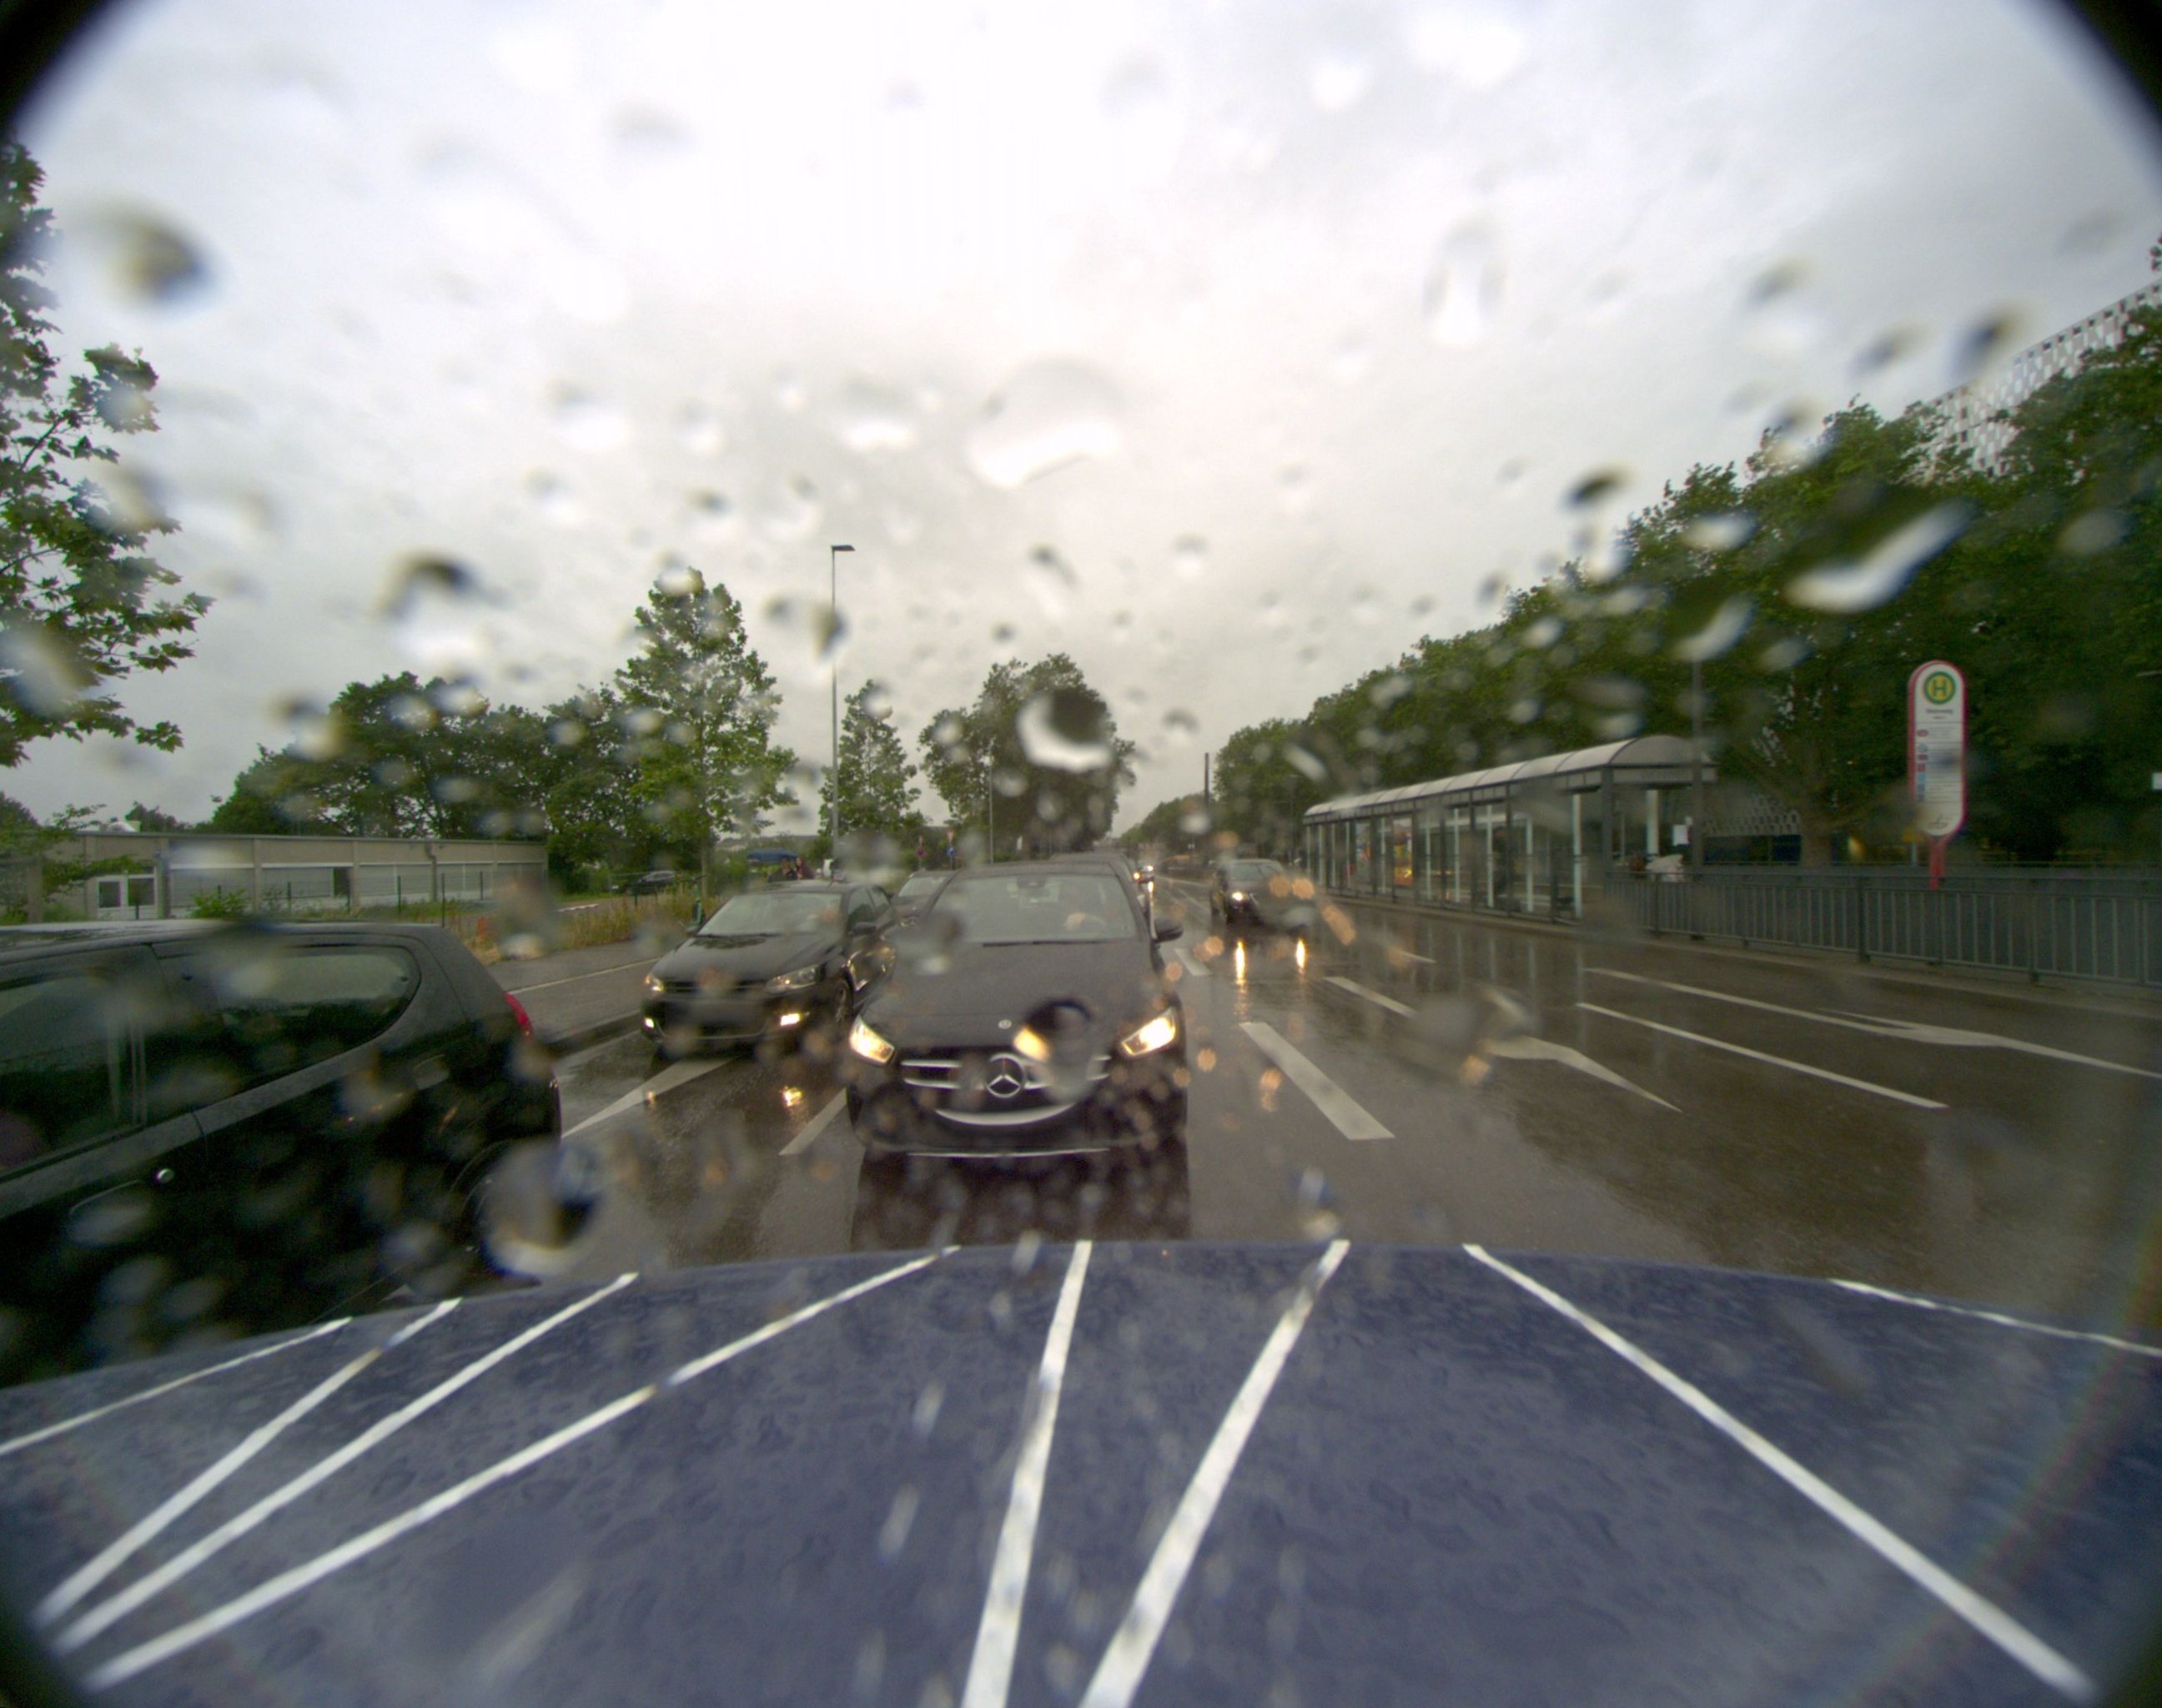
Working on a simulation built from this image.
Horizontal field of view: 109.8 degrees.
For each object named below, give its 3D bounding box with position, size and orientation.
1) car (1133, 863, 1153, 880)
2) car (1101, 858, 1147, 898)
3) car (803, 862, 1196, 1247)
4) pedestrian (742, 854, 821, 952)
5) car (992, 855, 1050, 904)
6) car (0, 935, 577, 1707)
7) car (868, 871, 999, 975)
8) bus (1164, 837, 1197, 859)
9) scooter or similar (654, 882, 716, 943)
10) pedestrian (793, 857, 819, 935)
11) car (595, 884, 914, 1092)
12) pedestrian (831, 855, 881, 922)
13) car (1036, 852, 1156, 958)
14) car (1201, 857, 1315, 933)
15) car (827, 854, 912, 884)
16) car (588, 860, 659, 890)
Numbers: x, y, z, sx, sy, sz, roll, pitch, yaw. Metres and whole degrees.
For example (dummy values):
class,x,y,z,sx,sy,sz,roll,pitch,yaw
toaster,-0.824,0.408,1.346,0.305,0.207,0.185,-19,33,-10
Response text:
class,x,y,z,sx,sy,sz,roll,pitch,yaw
car,6.760,1.883,83.227,1.794,1.597,3.999,-2,1,0
car,1.916,1.039,34.944,1.794,1.597,3.999,-2,1,0
car,-0.334,0.922,5.471,1.690,1.578,4.163,-2,1,1
pedestrian,-5.570,0.885,14.195,1.082,1.746,0.969,0,1,0
car,-2.017,0.826,26.563,1.703,1.461,4.121,-2,1,0
car,-3.010,1.082,1.455,1.633,1.420,3.624,-2,0,0
car,-2.698,1.213,14.755,1.698,1.565,3.813,-2,1,1
bus,16.305,-1.014,126.067,2.939,3.310,15.058,-2,1,-2
scooter or similar,-8.211,1.183,15.816,0.381,1.123,1.777,0,1,-1
pedestrian,-5.973,0.903,16.536,0.401,1.652,0.441,1,1,0
car,-2.929,1.114,7.711,1.633,1.420,3.624,-2,0,0
pedestrian,-5.870,0.876,19.871,1.025,1.698,0.891,1,1,0
car,0.203,0.723,12.491,1.633,1.420,3.624,-2,0,0
car,4.094,0.875,18.327,1.775,1.492,4.597,-2,1,2
car,-13.356,0.908,48.109,4.759,1.640,1.999,-2,1,-2
car,-33.966,1.513,56.525,3.996,2.002,2.000,-2,1,2
